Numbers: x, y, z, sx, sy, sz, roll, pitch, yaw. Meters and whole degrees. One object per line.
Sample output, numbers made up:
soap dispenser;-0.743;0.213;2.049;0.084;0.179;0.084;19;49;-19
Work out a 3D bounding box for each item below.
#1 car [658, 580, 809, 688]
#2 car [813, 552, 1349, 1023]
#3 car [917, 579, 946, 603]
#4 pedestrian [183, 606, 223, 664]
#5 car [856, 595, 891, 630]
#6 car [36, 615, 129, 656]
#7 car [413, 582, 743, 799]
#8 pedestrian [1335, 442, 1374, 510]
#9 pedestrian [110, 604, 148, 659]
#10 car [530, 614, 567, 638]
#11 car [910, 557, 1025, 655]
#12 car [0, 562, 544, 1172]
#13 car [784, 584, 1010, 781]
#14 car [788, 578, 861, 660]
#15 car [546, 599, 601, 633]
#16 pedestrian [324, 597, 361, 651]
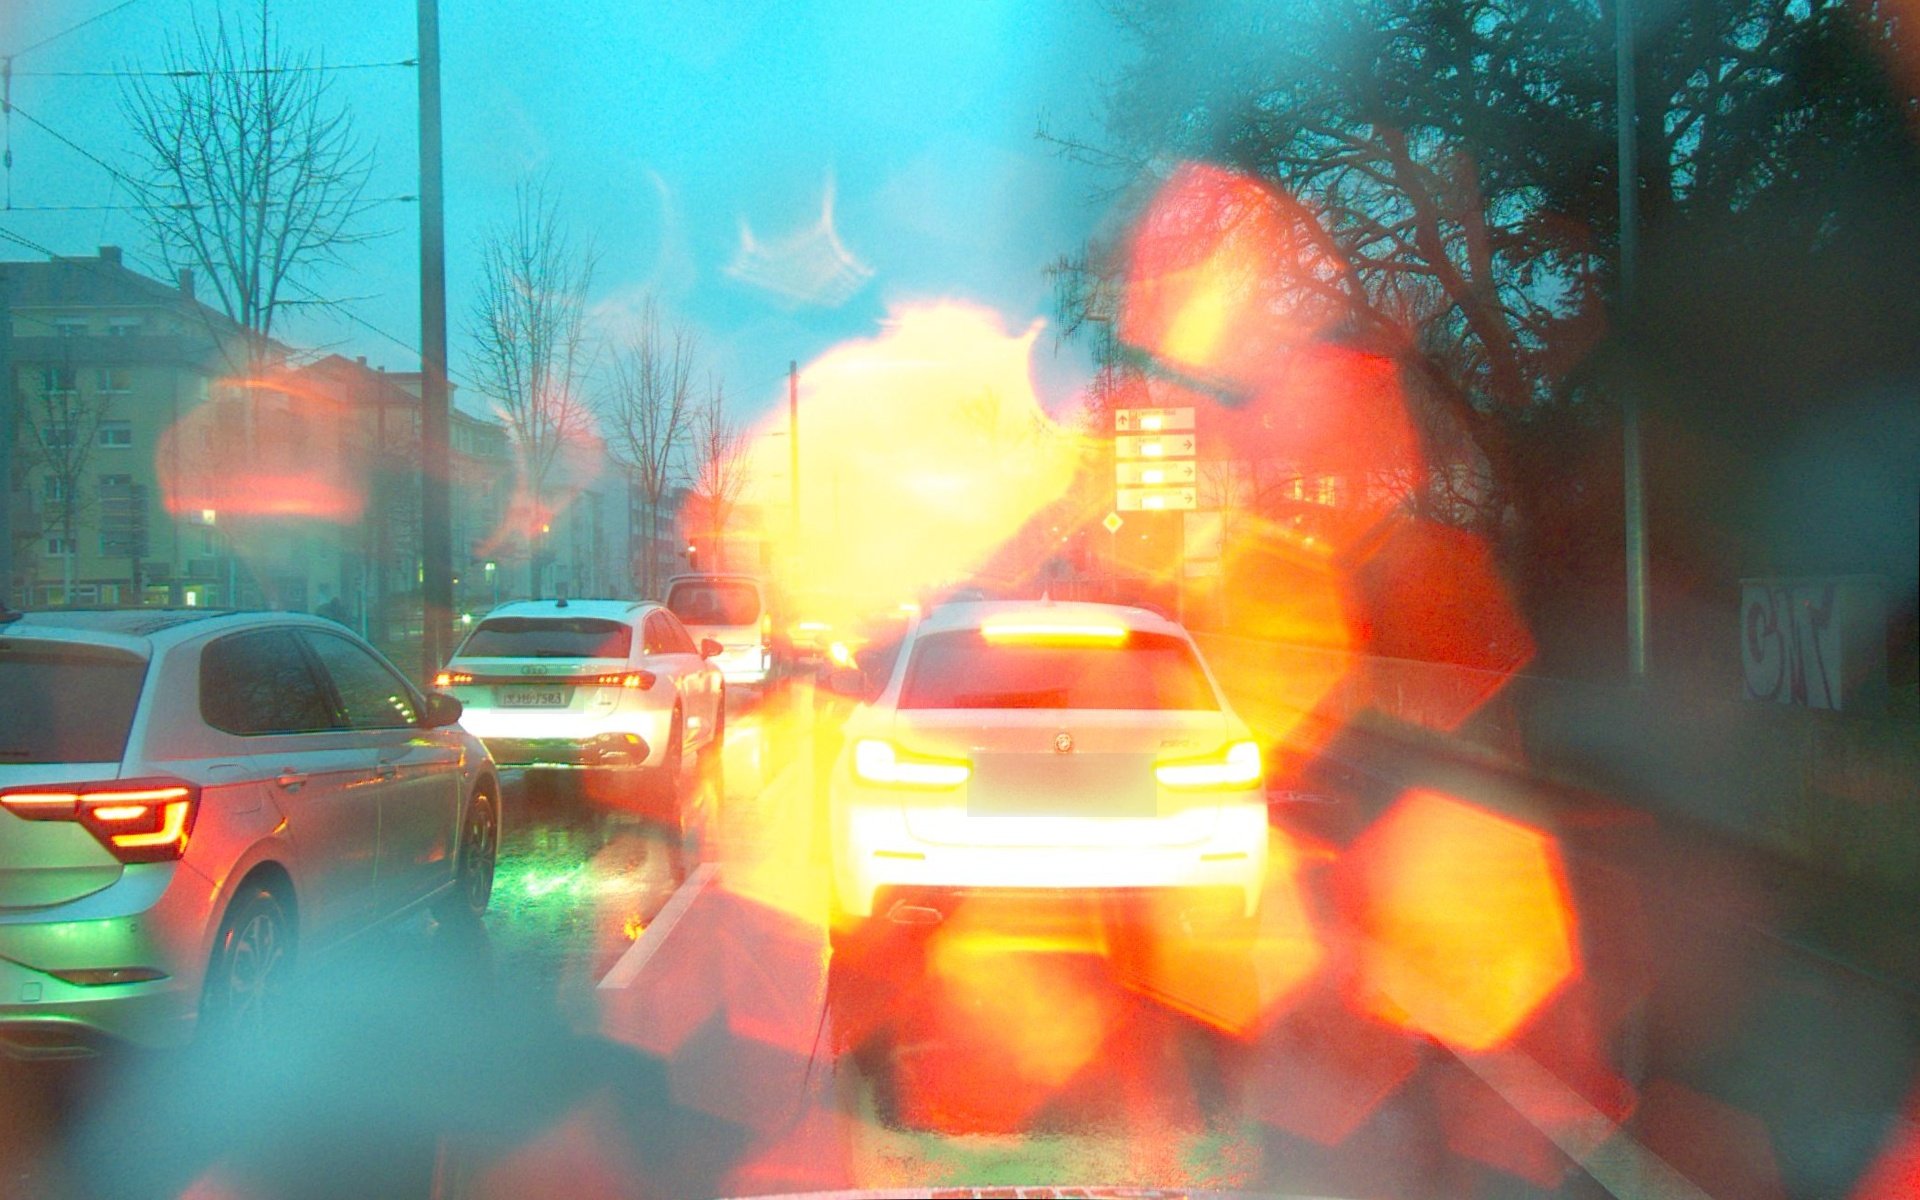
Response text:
car;-3.304;0.451;24.869;1.702;1.444;4.393;-1;0;-1
car;0.386;0.629;8.176;1.825;1.583;4.937;-1;0;-1
car;-1.745;-0.561;101.788;1.702;1.444;4.145;-1;0;-1
pedestrian;-27.478;1.263;60.015;1.062;2.049;0.992;-1;0;-42
car;-3.461;0.503;66.217;1.336;1.339;2.714;1;0;-3
car;-43.736;1.762;82.497;3.679;1.976;1.838;1;0;-9
car;-3.004;0.627;13.993;1.762;1.492;4.585;-1;0;-1
pedestrian;12.375;-3.893;51.915;0.939;2.049;1.007;-1;0;-2
pedestrian;-31.569;1.200;62.846;0.944;2.049;1.002;-1;0;40
car;-24.434;1.527;98.284;1.659;1.300;4.142;-1;0;-7
car;0.086;0.082;26.815;1.702;1.444;3.702;-1;0;-1
car;-2.868;0.669;6.220;1.658;1.560;3.999;0;0;-1
car;-0.523;0.651;15.022;1.763;1.537;3.894;-1;0;-1
car;-2.894;0.395;35.635;1.476;1.681;2.842;1;0;-4
car;-19.632;0.796;84.261;1.953;1.630;3.998;1;0;-2
pedestrian;-24.045;0.937;64.357;1.253;2.049;1.000;-1;0;-25
